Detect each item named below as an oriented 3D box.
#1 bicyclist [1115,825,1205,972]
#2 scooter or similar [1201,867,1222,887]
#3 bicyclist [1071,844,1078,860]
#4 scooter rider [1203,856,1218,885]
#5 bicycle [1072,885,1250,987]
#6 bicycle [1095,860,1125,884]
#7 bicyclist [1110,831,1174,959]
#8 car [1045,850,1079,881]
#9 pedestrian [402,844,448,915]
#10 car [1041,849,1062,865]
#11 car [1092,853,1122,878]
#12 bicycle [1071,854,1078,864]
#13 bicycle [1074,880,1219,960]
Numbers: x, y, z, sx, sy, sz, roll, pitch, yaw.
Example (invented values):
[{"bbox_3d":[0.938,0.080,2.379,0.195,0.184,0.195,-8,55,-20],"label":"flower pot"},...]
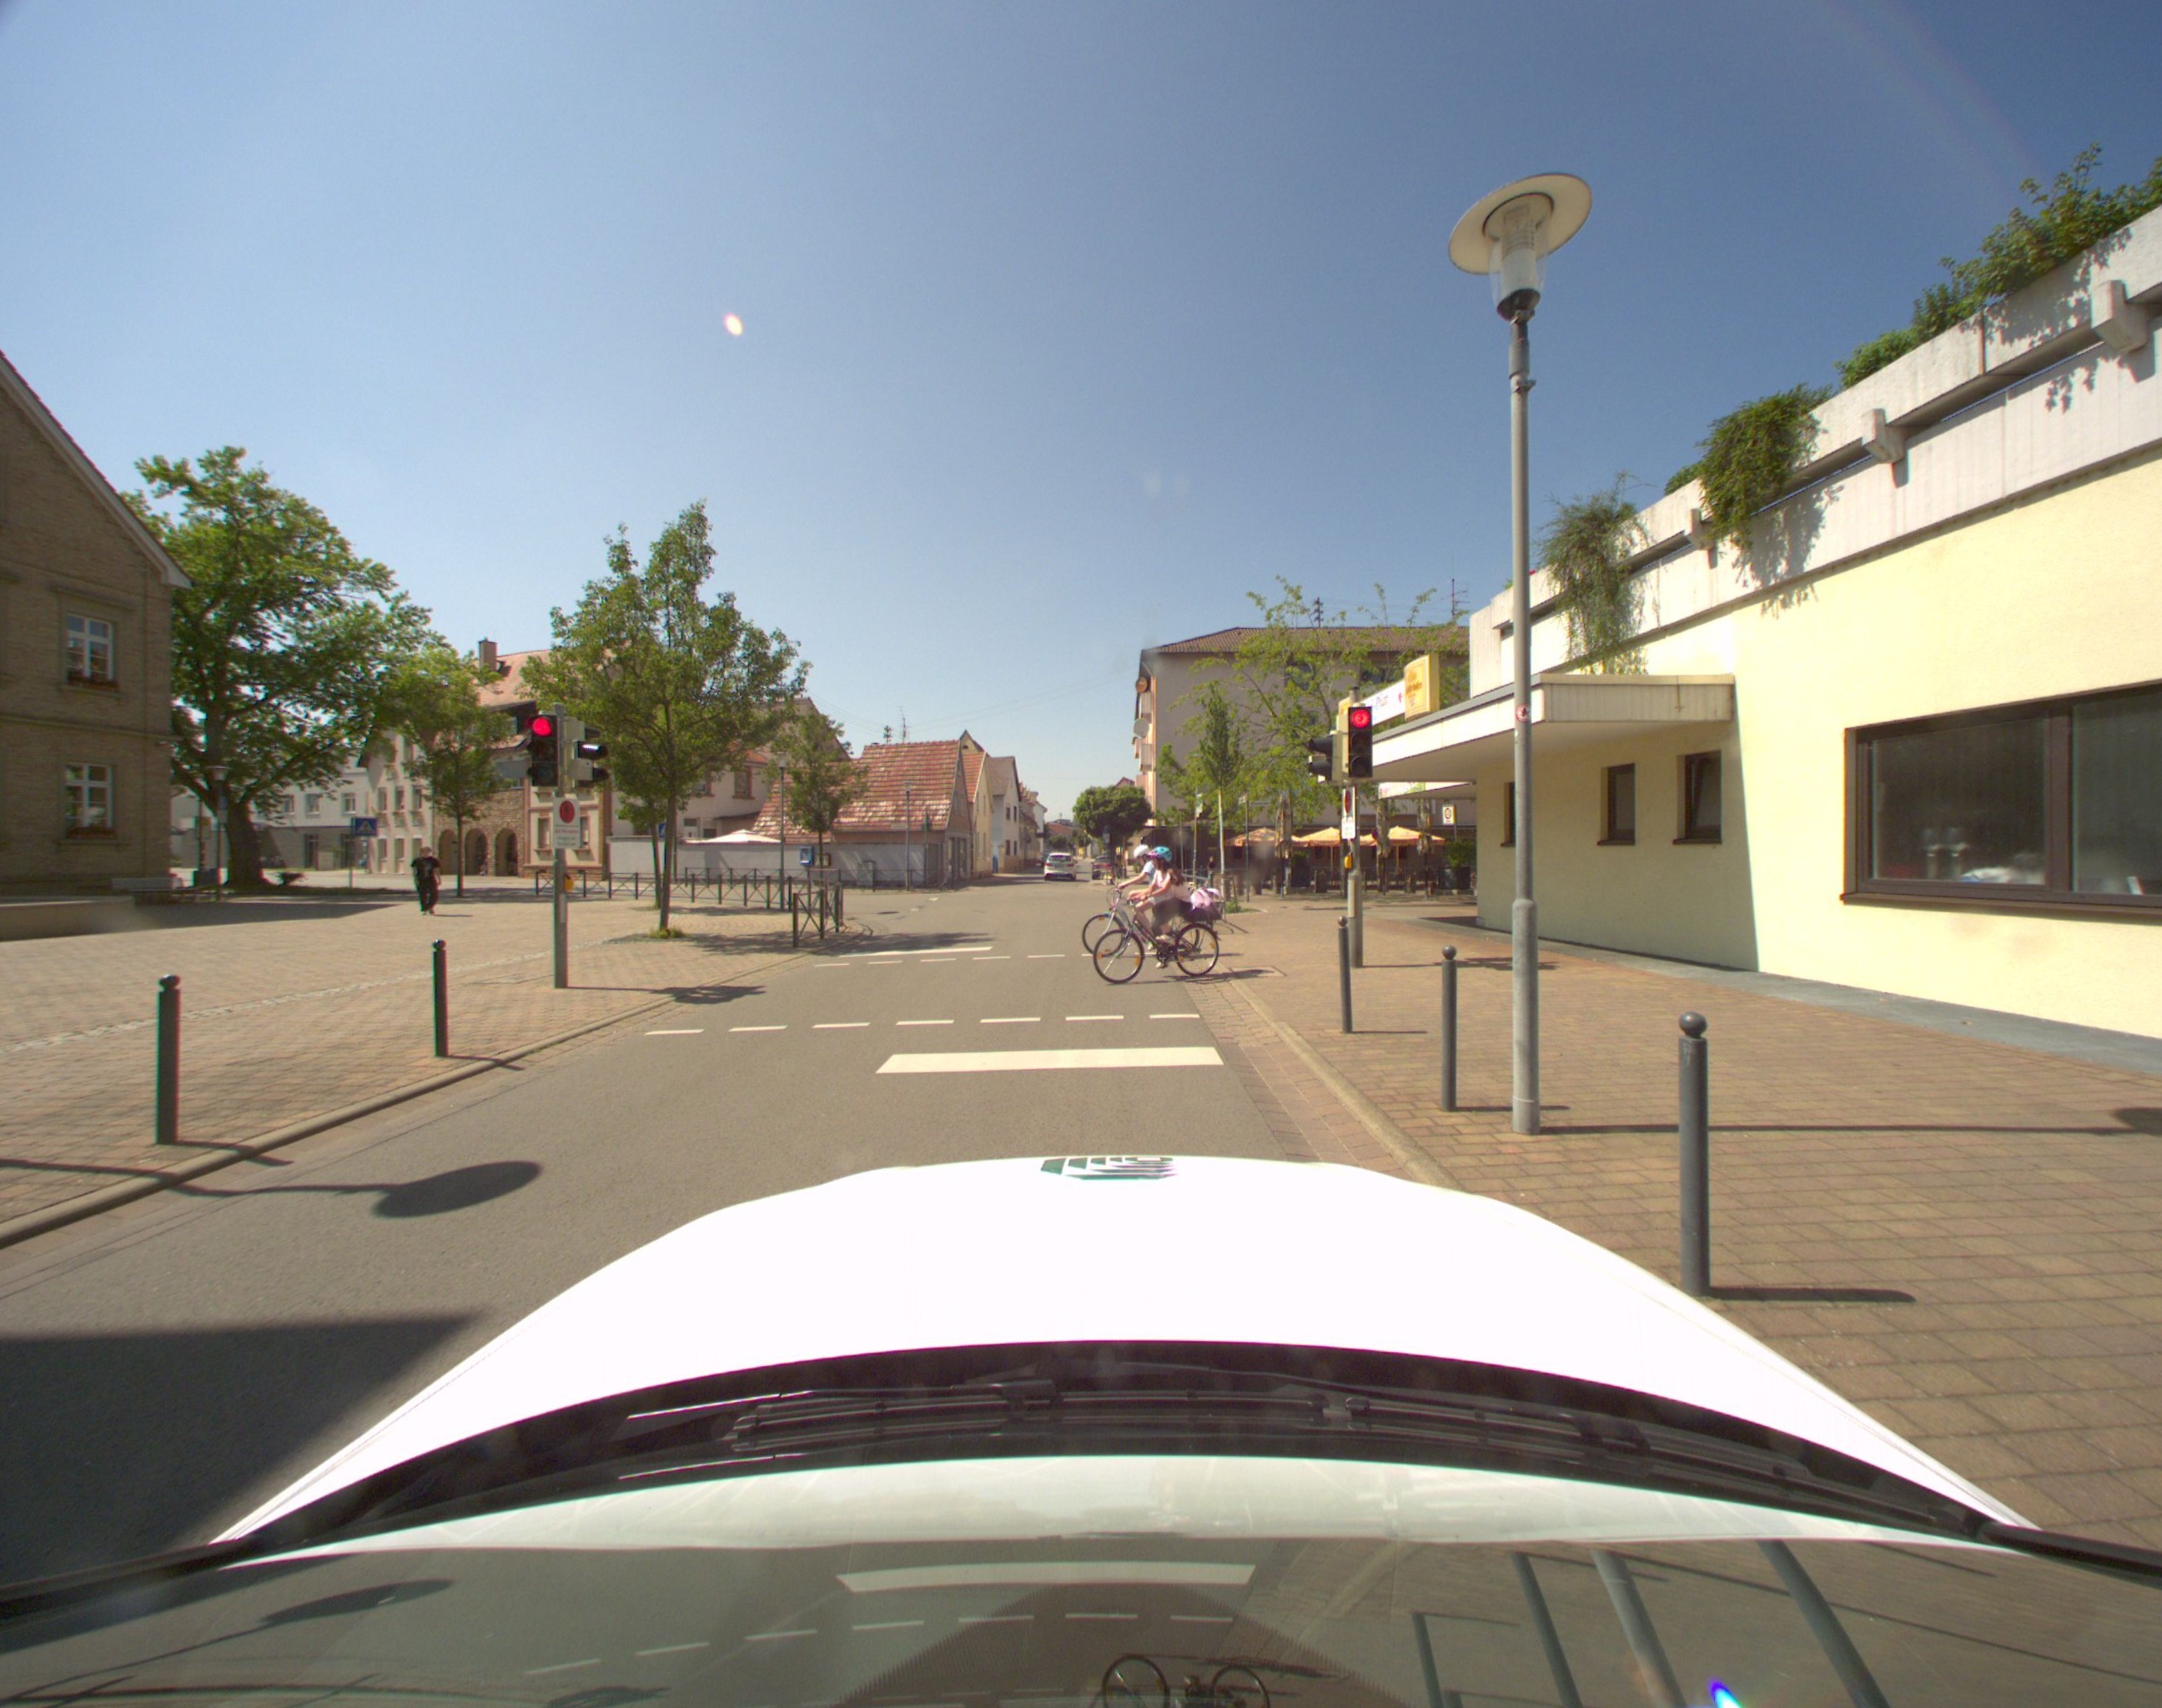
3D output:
[{"bbox_3d":[0.892,0.478,9.314,0.761,1.581,0.666,-3,1,-19],"label":"bicyclist"},{"bbox_3d":[5.815,1.016,36.219,0.382,0.873,0.880,0,0,-38],"label":"scooter or similar"},{"bbox_3d":[-0.716,-0.232,86.083,0.666,1.690,0.762,-1,0,2],"label":"bicyclist"},{"bbox_3d":[5.770,0.744,36.276,0.520,1.286,0.413,0,0,-40],"label":"scooter rider"},{"bbox_3d":[0.915,0.896,9.316,1.896,0.958,0.671,-3,1,-20],"label":"bicycle"},{"bbox_3d":[1.500,0.921,41.723,0.530,1.193,1.655,0,0,-42],"label":"bicycle"},{"bbox_3d":[0.821,0.541,11.096,0.757,1.664,0.671,-2,0,-1],"label":"bicyclist"},{"bbox_3d":[-1.154,0.642,47.947,1.830,1.652,3.996,1,1,-3],"label":"car"},{"bbox_3d":[-15.823,0.610,19.653,0.818,1.654,0.841,1,-1,-39],"label":"pedestrian"},{"bbox_3d":[-2.951,0.296,81.469,1.707,1.517,3.789,0,0,3],"label":"car"},{"bbox_3d":[1.647,0.686,50.501,1.797,1.501,4.004,0,0,3],"label":"car"},{"bbox_3d":[-0.708,0.539,86.103,0.671,1.094,1.897,-1,0,2],"label":"bicycle"},{"bbox_3d":[0.864,0.881,11.098,1.884,0.958,0.676,-2,0,-1],"label":"bicycle"}]
